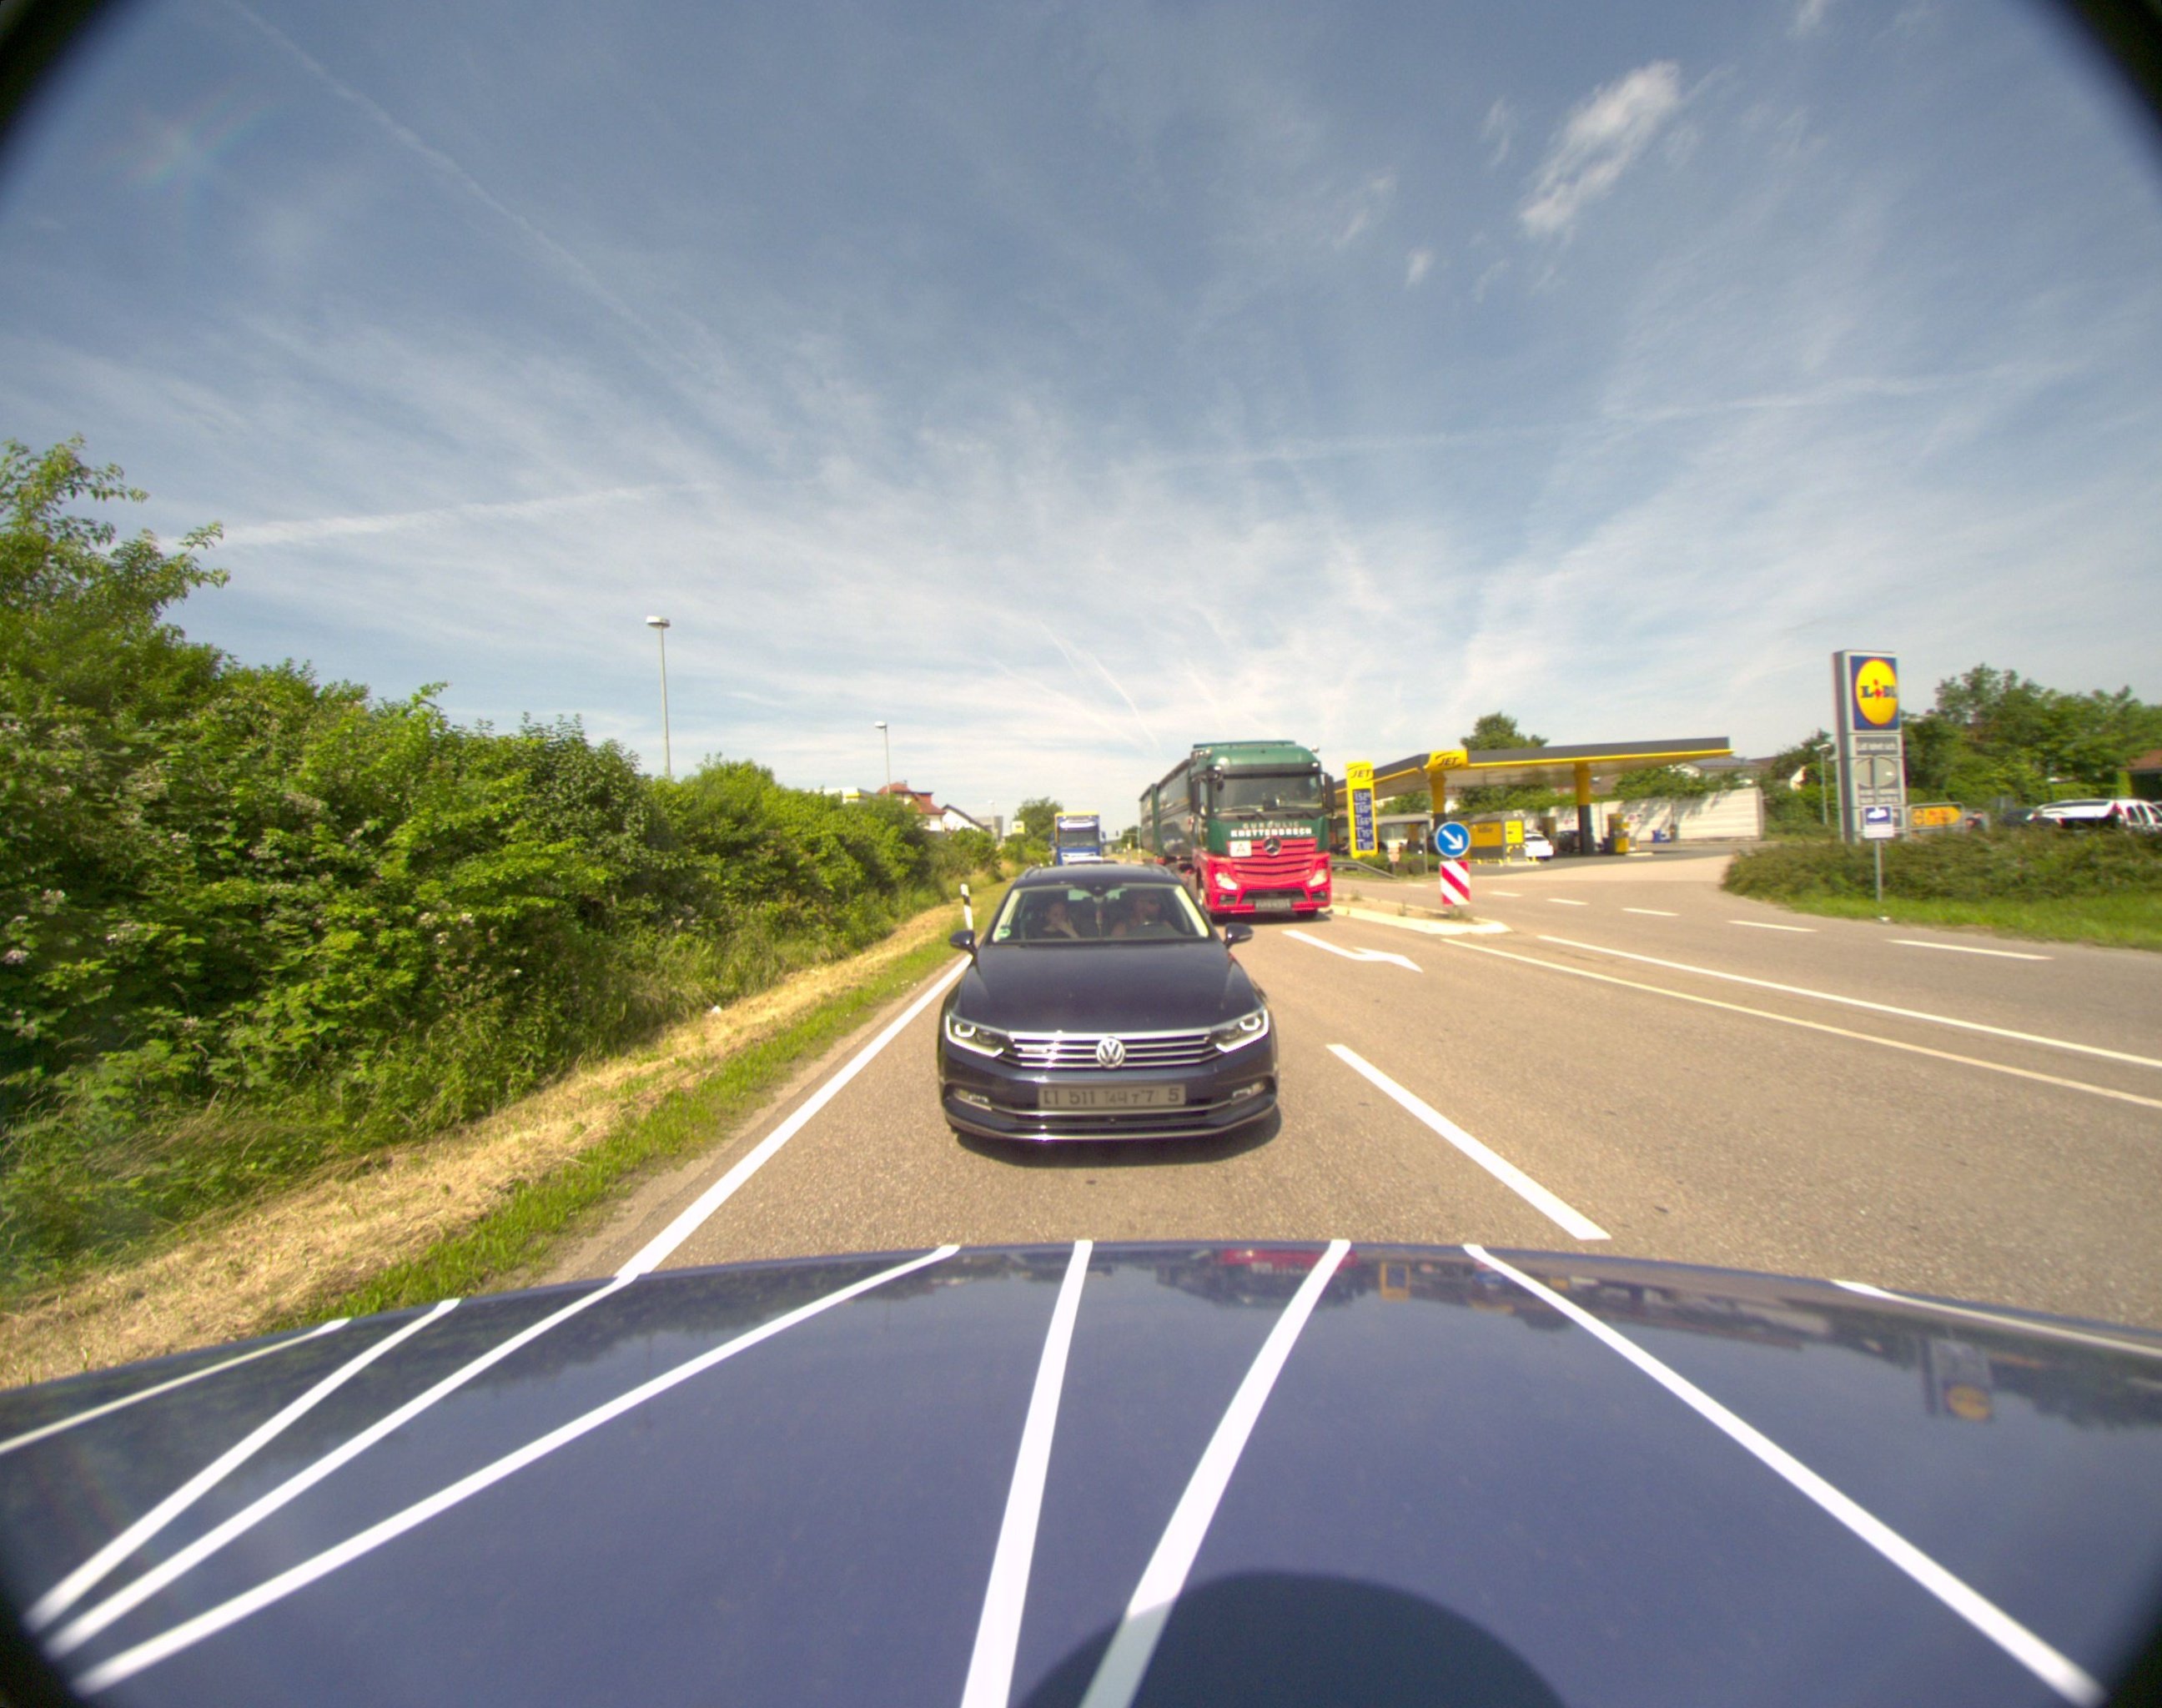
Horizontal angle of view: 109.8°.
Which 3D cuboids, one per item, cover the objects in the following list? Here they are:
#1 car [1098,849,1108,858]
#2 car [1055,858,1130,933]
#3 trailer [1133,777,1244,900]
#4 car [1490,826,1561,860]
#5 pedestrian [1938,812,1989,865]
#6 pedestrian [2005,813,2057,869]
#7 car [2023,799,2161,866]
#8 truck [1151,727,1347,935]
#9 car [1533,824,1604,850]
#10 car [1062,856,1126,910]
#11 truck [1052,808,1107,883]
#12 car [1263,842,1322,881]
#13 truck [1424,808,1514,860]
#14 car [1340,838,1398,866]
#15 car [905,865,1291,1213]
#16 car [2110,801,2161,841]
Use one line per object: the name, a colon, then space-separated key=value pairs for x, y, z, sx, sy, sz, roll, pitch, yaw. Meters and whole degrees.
car: x=4.038 y=-0.059 z=139.270 sx=1.819 sy=1.626 sz=3.893 roll=-2 pitch=0 yaw=1
car: x=0.261 y=0.863 z=17.386 sx=1.471 sy=1.451 sz=3.797 roll=-2 pitch=0 yaw=1
trailer: x=3.796 y=-0.515 z=29.061 sx=2.808 sy=3.897 sz=8.668 roll=-3 pitch=0 yaw=0
car: x=24.231 y=-0.570 z=41.616 sx=1.736 sy=1.718 sz=4.001 roll=-1 pitch=0 yaw=3
pedestrian: x=27.018 y=-0.474 z=23.277 sx=0.703 sy=1.566 sz=0.810 roll=-2 pitch=0 yaw=23
pedestrian: x=27.525 y=-0.379 z=22.025 sx=0.705 sy=1.566 sz=0.807 roll=-3 pitch=2 yaw=-27
car: x=30.677 y=-0.662 z=22.806 sx=4.172 sy=1.801 sz=1.877 roll=-3 pitch=1 yaw=-23
truck: x=3.724 y=-0.462 z=19.740 sx=2.675 sy=3.897 sz=10.048 roll=-3 pitch=0 yaw=0
car: x=32.180 y=-1.088 z=50.314 sx=1.753 sy=1.603 sz=3.873 roll=-2 pitch=0 yaw=-10
car: x=0.412 y=0.854 z=24.204 sx=1.814 sy=1.466 sz=3.973 roll=-2 pitch=0 yaw=1
truck: x=0.024 y=-0.518 z=47.740 sx=2.855 sy=3.999 sz=12.916 roll=-2 pitch=0 yaw=1
car: x=10.477 y=0.353 z=37.922 sx=1.871 sy=1.739 sz=4.110 roll=-3 pitch=0 yaw=1
truck: x=23.838 y=-1.180 z=47.008 sx=2.250 sy=2.906 sz=6.282 roll=-2 pitch=1 yaw=-1
car: x=19.024 y=-0.130 z=50.394 sx=1.999 sy=1.696 sz=4.263 roll=-2 pitch=0 yaw=-3
car: x=0.116 y=0.906 z=6.015 sx=1.756 sy=1.493 sz=4.925 roll=-2 pitch=0 yaw=1
car: x=44.662 y=-1.423 z=30.763 sx=3.999 sy=1.531 sz=1.769 roll=-3 pitch=0 yaw=-7
